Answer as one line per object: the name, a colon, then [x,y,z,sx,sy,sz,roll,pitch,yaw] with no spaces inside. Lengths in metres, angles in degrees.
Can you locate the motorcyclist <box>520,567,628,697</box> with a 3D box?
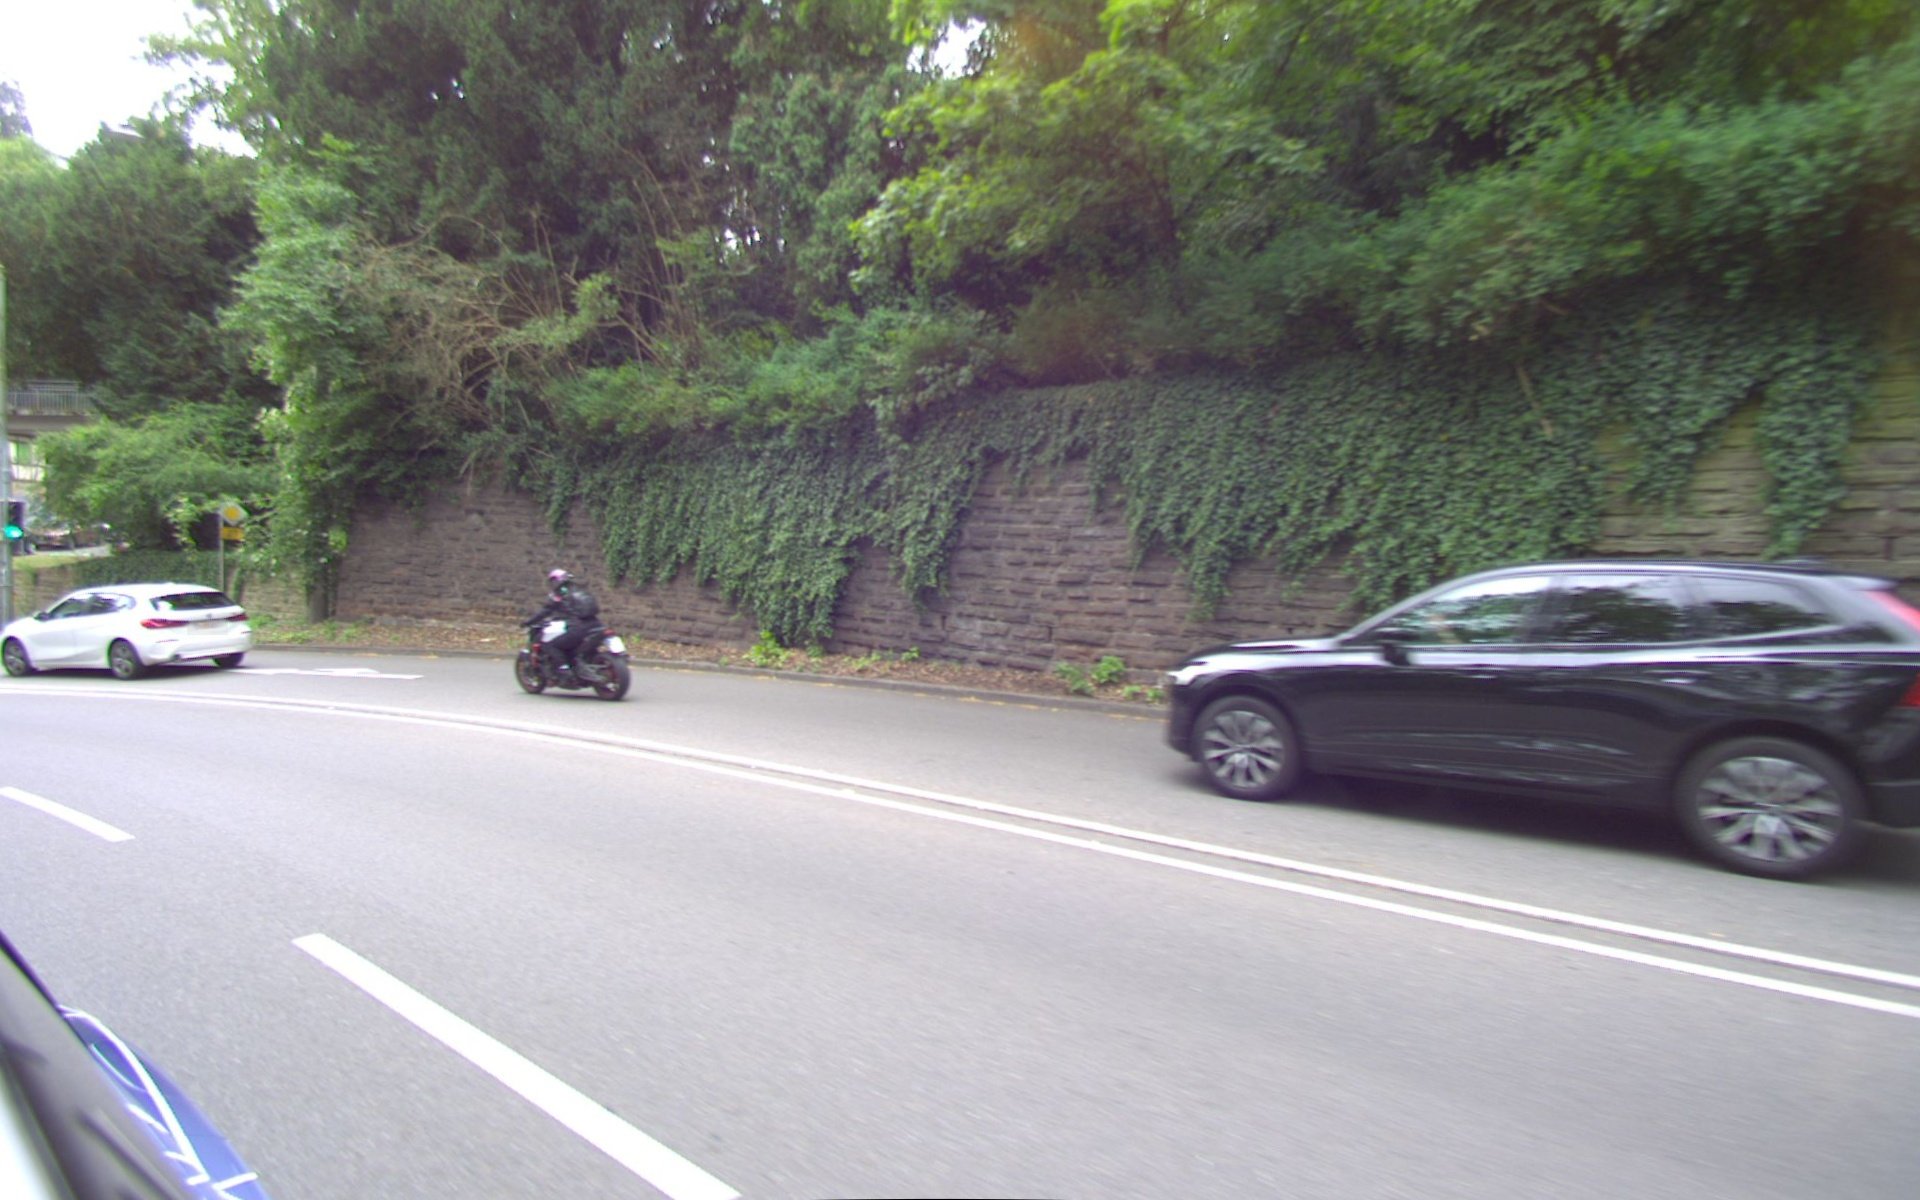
motorcyclist: [-4.787,0.362,12.568,1.091,1.540,0.741,1,1,31]

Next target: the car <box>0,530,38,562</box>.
car: [-46.741,-2.597,48.858,1.576,1.338,3.925,1,6,-14]

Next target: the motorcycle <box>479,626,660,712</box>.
motorcycle: [-4.911,0.822,12.660,2.420,0.896,0.802,1,1,31]

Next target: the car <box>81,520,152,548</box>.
car: [-49.002,-3.854,58.891,1.576,1.338,3.925,1,7,-14]

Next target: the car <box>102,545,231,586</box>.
car: [-33.459,-1.472,42.812,3.930,1.563,1.783,-1,6,-23]

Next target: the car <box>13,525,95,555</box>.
car: [-47.994,-3.198,53.697,1.576,1.338,3.925,1,6,-14]

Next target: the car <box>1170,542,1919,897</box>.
car: [3.801,0.541,6.476,4.507,1.661,1.831,0,1,40]

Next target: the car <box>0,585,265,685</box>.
car: [-14.003,0.517,16.891,4.296,1.426,1.741,0,4,20]
